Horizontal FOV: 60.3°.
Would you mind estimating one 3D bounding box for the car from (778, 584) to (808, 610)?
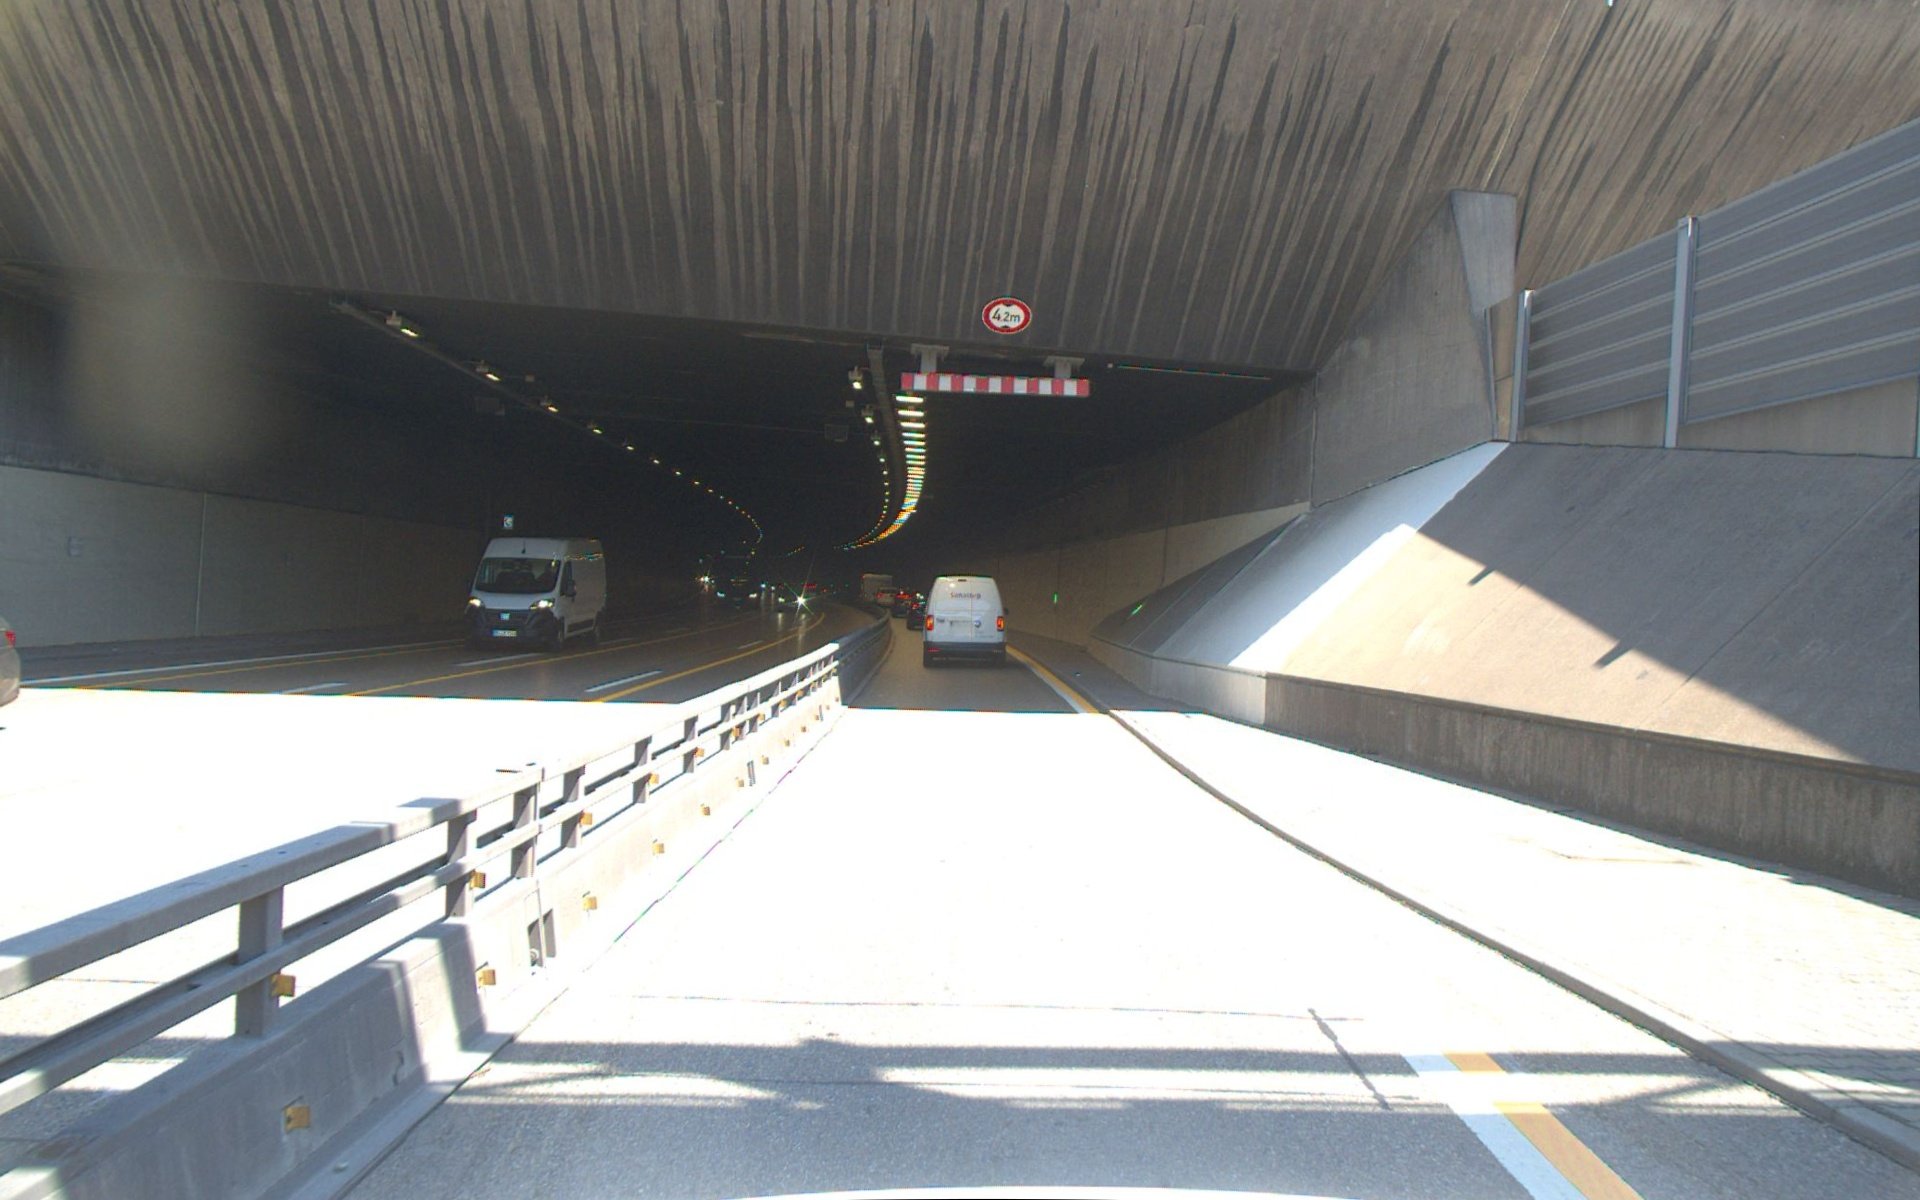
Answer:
[{"bbox_3d":[-10.179,-0.198,100.673,1.786,1.482,4.088,1,0,-6],"label":"car"}]

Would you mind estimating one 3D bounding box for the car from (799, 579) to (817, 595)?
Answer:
[{"bbox_3d":[-19.707,-1.670,213.654,1.905,2.056,4.651,1,0,-10],"label":"car"}]

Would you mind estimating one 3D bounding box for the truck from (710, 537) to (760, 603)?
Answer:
[{"bbox_3d":[-14.102,-1.872,104.148,2.755,3.984,6.449,1,0,-5],"label":"truck"}]

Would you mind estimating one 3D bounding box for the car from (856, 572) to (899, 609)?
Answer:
[{"bbox_3d":[-6.635,-0.797,131.904,2.761,2.822,7.088,1,1,-8],"label":"car"}]

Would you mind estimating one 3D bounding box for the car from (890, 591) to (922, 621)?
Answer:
[{"bbox_3d":[-2.955,0.294,90.339,1.567,1.573,3.675,1,0,-4],"label":"car"}]

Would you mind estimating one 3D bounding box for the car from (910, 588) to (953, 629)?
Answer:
[{"bbox_3d":[-1.173,0.310,65.836,1.566,1.573,3.675,1,0,-3],"label":"car"}]

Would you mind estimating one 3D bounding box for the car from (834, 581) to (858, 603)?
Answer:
[{"bbox_3d":[-11.594,-0.856,167.974,1.997,2.056,4.623,5,0,-8],"label":"car"}]

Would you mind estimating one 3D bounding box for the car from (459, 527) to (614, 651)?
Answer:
[{"bbox_3d":[-9.480,-0.266,37.542,1.953,2.559,6.042,0,1,0],"label":"car"}]

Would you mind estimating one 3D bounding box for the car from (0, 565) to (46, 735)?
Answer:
[{"bbox_3d":[-9.566,0.468,13.468,1.737,1.542,4.564,0,1,0],"label":"car"}]

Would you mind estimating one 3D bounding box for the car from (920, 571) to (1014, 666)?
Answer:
[{"bbox_3d":[0.092,0.371,34.744,1.772,1.825,3.729,3,0,-2],"label":"car"}]

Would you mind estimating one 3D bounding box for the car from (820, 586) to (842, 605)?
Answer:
[{"bbox_3d":[-14.301,-0.540,183.161,1.905,2.056,4.651,1,0,-10],"label":"car"}]

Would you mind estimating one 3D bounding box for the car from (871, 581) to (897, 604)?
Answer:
[{"bbox_3d":[-5.217,-0.516,113.368,1.568,1.573,3.673,1,0,-6],"label":"car"}]

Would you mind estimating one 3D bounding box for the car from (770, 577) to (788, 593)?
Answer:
[{"bbox_3d":[-23.878,-2.051,218.420,1.892,1.880,4.349,0,3,-12],"label":"car"}]
